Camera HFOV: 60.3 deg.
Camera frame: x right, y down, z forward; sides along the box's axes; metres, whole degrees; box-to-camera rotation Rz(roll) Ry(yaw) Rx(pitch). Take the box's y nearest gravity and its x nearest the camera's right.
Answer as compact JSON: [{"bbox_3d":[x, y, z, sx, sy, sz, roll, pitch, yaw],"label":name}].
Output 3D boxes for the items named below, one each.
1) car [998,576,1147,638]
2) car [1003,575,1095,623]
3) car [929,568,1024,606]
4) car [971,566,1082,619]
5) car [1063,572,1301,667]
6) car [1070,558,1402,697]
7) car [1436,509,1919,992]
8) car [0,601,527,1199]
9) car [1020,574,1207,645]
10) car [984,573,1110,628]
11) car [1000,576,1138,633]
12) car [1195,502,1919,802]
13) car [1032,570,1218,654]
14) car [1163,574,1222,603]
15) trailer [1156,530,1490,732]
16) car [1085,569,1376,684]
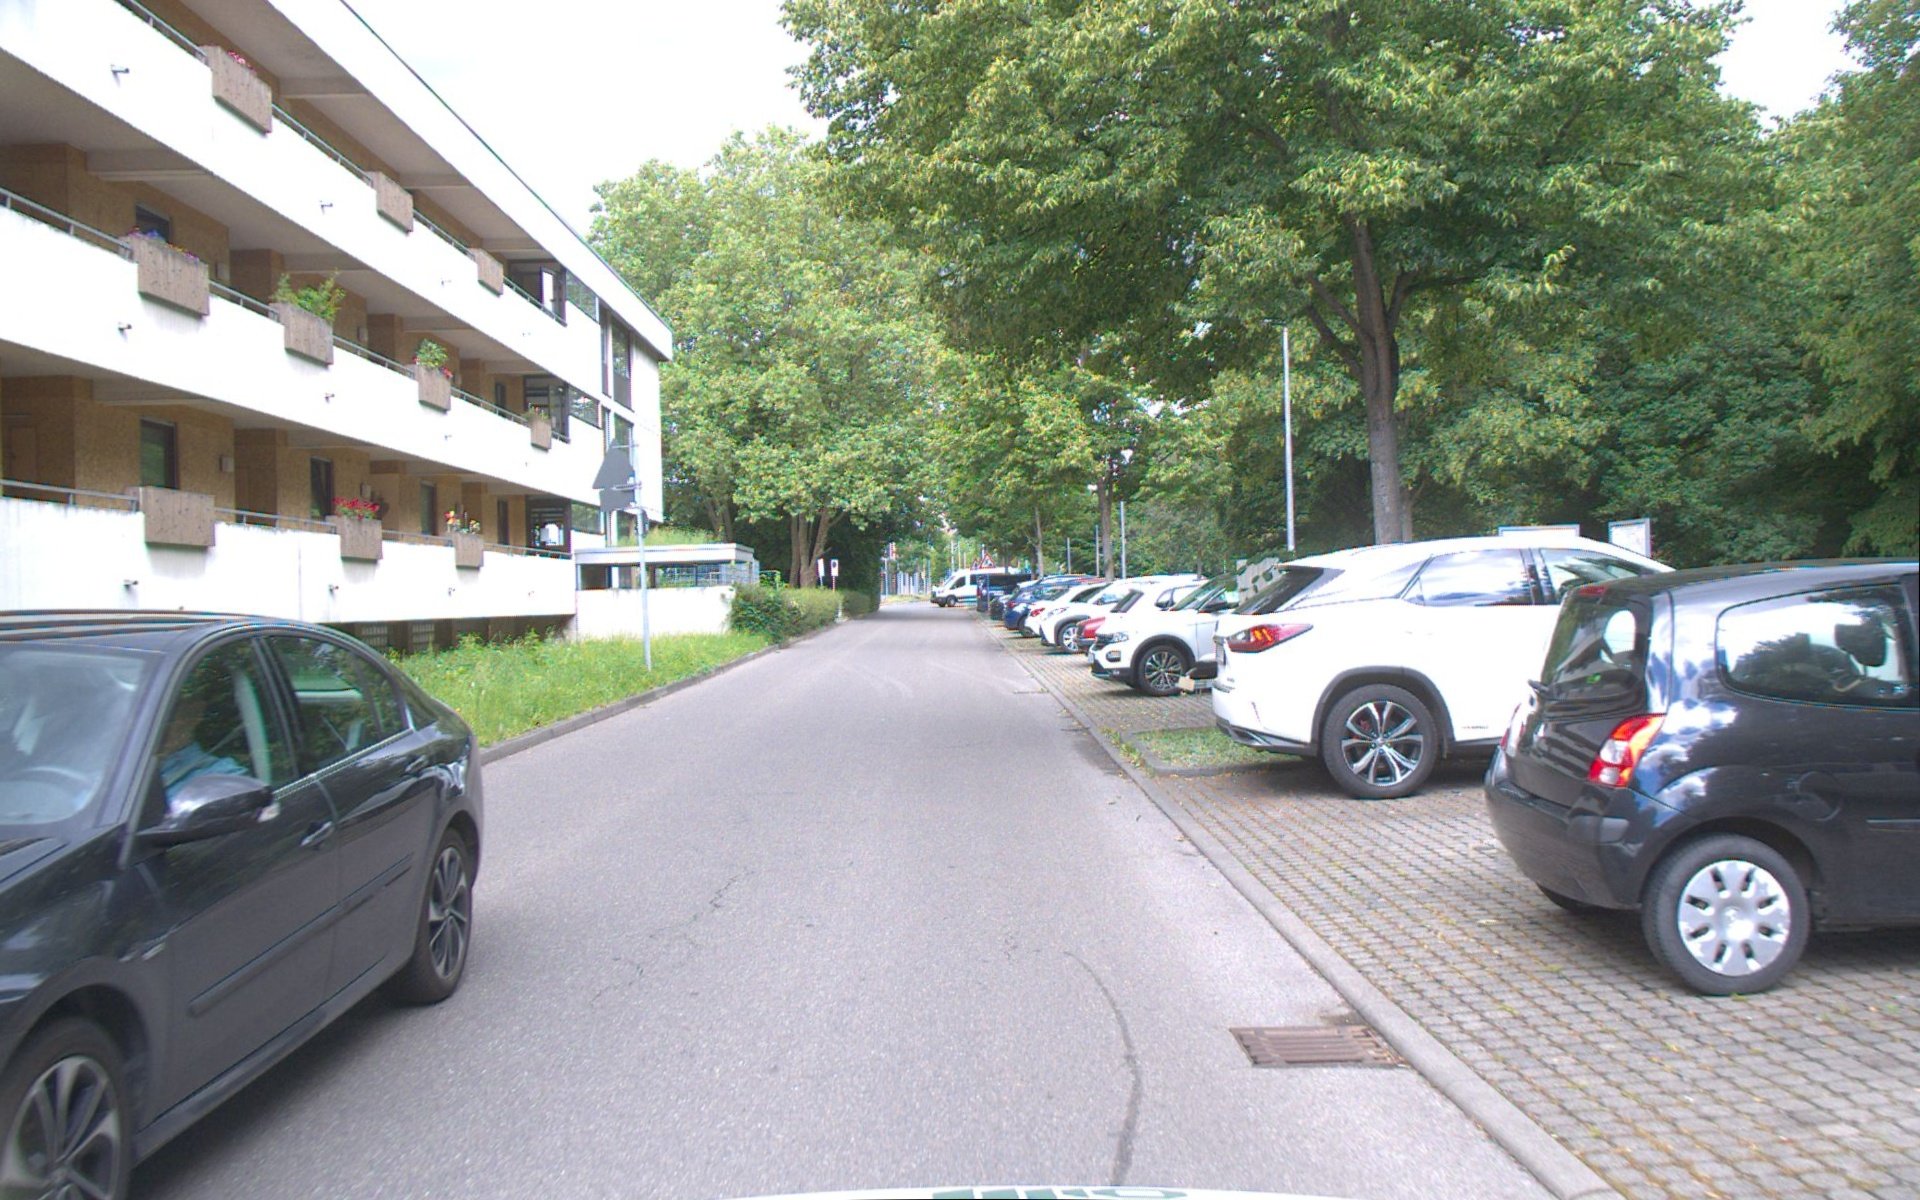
[{"bbox_3d":[3.104,0.198,46.171,3.989,1.481,1.851,-3,0,0],"label":"car"},{"bbox_3d":[3.309,-0.042,61.952,3.310,1.601,1.796,-3,1,0],"label":"car"},{"bbox_3d":[1.129,-0.898,112.416,6.158,2.519,2.129,0,0,-18],"label":"car"},{"bbox_3d":[2.980,-0.361,74.762,4.853,2.048,2.166,-4,0,0],"label":"car"},{"bbox_3d":[3.964,0.335,29.939,3.973,1.446,1.816,-3,0,-2],"label":"car"},{"bbox_3d":[3.624,0.348,22.211,4.032,1.575,1.859,-3,0,-4],"label":"car"},{"bbox_3d":[4.188,0.456,6.507,4.073,1.598,1.851,-2,0,1],"label":"car"},{"bbox_3d":[-2.656,0.739,4.502,1.874,1.436,4.422,-1,0,-1],"label":"car"},{"bbox_3d":[3.754,0.223,41.045,4.394,1.480,1.846,-3,0,-1],"label":"car"},{"bbox_3d":[3.093,-0.009,59.343,4.326,1.705,2.082,-3,1,-1],"label":"car"},{"bbox_3d":[3.341,0.136,51.333,3.993,1.543,1.849,-3,0,-5],"label":"car"},{"bbox_3d":[4.179,0.337,11.773,4.718,1.722,1.975,-3,0,2],"label":"car"},{"bbox_3d":[3.465,0.250,35.253,3.761,1.542,1.881,-3,0,2],"label":"car"},{"bbox_3d":[15.093,-0.738,107.310,3.699,1.697,1.769,-2,0,7],"label":"car"},{"bbox_3d":[3.661,0.297,17.003,2.970,1.822,1.562,-3,0,-4],"label":"trailer"},{"bbox_3d":[3.994,0.380,24.811,3.931,1.446,1.790,-3,0,-6],"label":"car"}]
